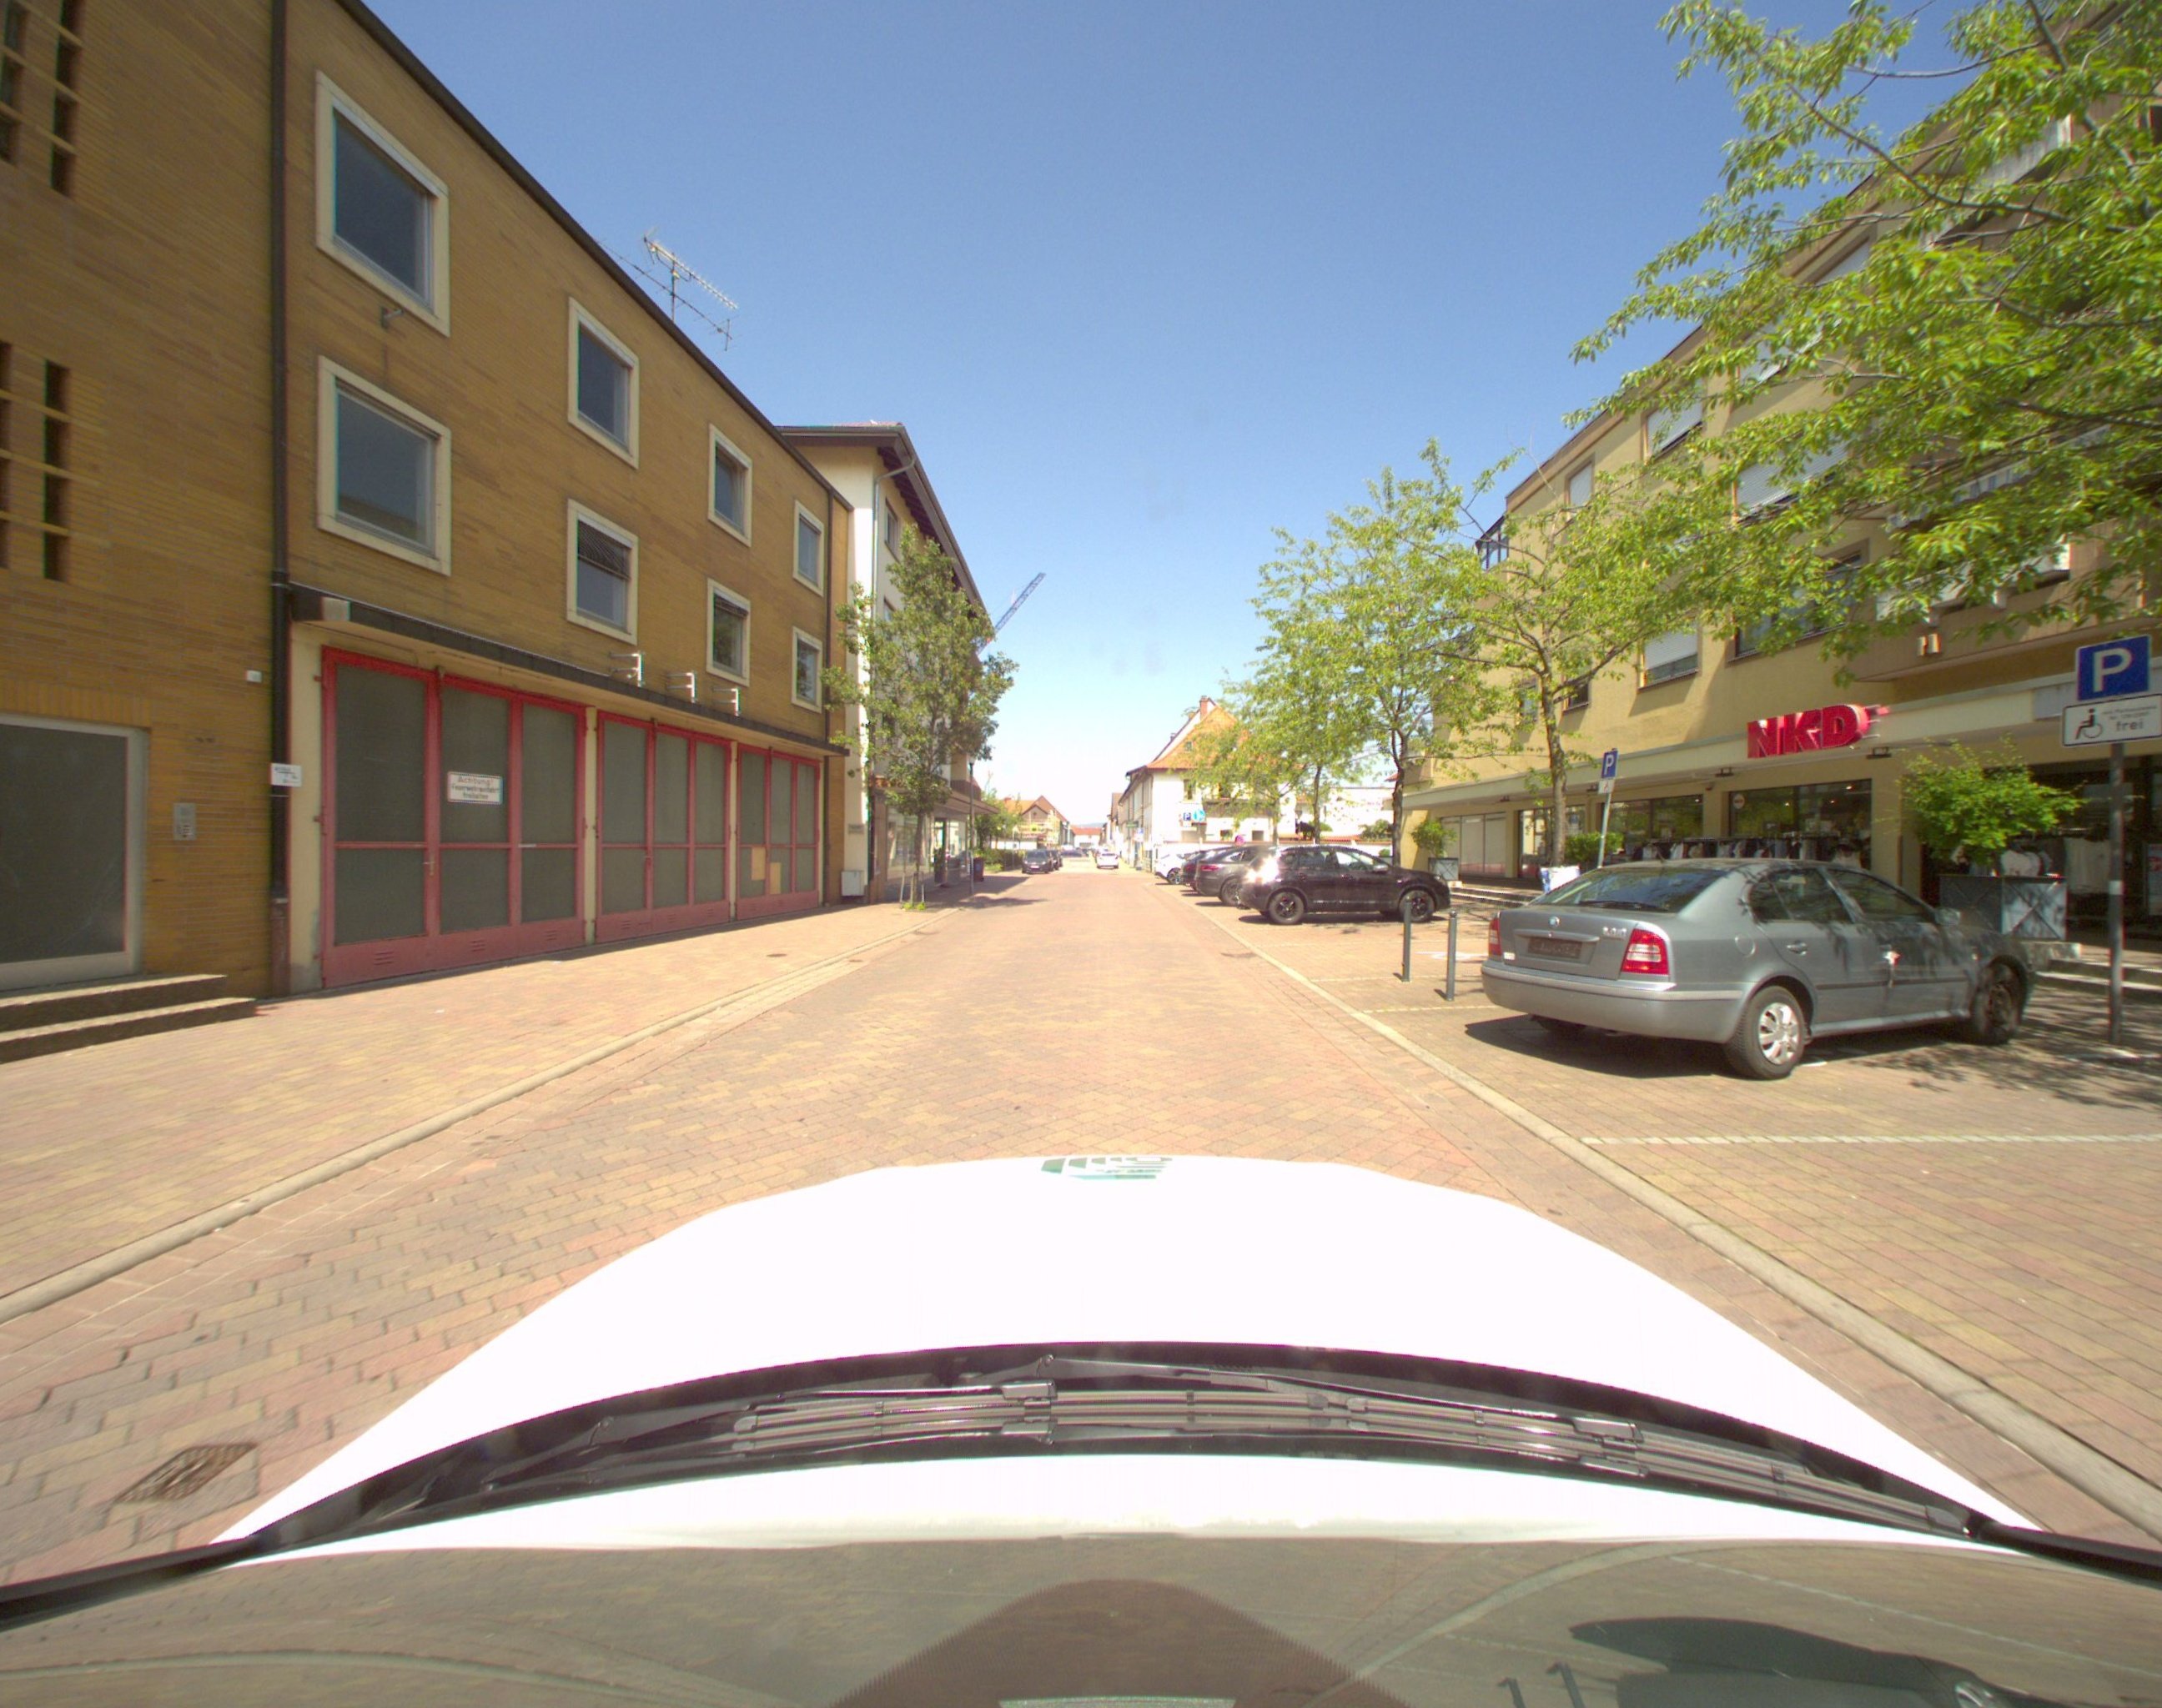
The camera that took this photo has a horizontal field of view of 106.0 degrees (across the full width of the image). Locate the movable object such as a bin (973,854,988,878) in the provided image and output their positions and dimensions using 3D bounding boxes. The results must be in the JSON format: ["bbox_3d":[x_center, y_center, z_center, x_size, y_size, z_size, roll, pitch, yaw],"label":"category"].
[{"bbox_3d":[-4.599,0.555,37.203,0.654,1.070,0.662,1,0,-6],"label":"movable object such as a bin"}]

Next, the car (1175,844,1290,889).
[{"bbox_3d":[5.563,0.441,30.286,3.931,1.534,1.824,-2,0,0],"label":"car"}]

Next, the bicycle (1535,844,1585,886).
[{"bbox_3d":[13.288,0.288,22.635,0.411,1.124,1.776,1,0,3],"label":"bicycle"}]

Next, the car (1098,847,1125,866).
[{"bbox_3d":[2.718,0.198,71.383,1.876,1.542,4.253,0,1,8],"label":"car"}]

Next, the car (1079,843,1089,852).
[{"bbox_3d":[0.580,-1.221,156.835,1.876,1.668,4.153,1,1,0],"label":"car"}]

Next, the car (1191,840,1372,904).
[{"bbox_3d":[5.296,0.453,21.988,4.488,1.588,1.852,-1,1,3],"label":"car"}]

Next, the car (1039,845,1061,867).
[{"bbox_3d":[-2.430,0.144,64.385,1.632,1.628,3.768,0,1,0],"label":"car"}]

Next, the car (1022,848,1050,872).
[{"bbox_3d":[-2.891,0.343,52.764,1.698,1.496,3.853,0,1,-3],"label":"car"}]

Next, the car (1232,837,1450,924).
[{"bbox_3d":[5.313,0.521,17.028,4.011,1.612,1.682,-2,0,2],"label":"car"}]

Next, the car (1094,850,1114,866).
[{"bbox_3d":[2.512,0.457,91.187,1.880,1.556,3.891,-3,1,-2],"label":"car"}]

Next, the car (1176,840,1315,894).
[{"bbox_3d":[5.441,0.404,27.318,4.266,1.681,2.000,-1,0,-1],"label":"car"}]

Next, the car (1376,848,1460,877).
[{"bbox_3d":[17.253,0.432,41.797,3.601,1.451,1.655,0,1,1],"label":"car"}]

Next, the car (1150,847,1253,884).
[{"bbox_3d":[5.496,0.512,37.386,4.428,1.576,1.787,1,1,-2],"label":"car"}]

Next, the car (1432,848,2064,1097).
[{"bbox_3d":[5.236,0.699,6.479,4.385,1.463,1.879,0,0,-19],"label":"car"}]

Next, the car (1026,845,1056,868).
[{"bbox_3d":[-2.834,0.130,58.711,1.808,1.604,4.026,0,1,2],"label":"car"}]
